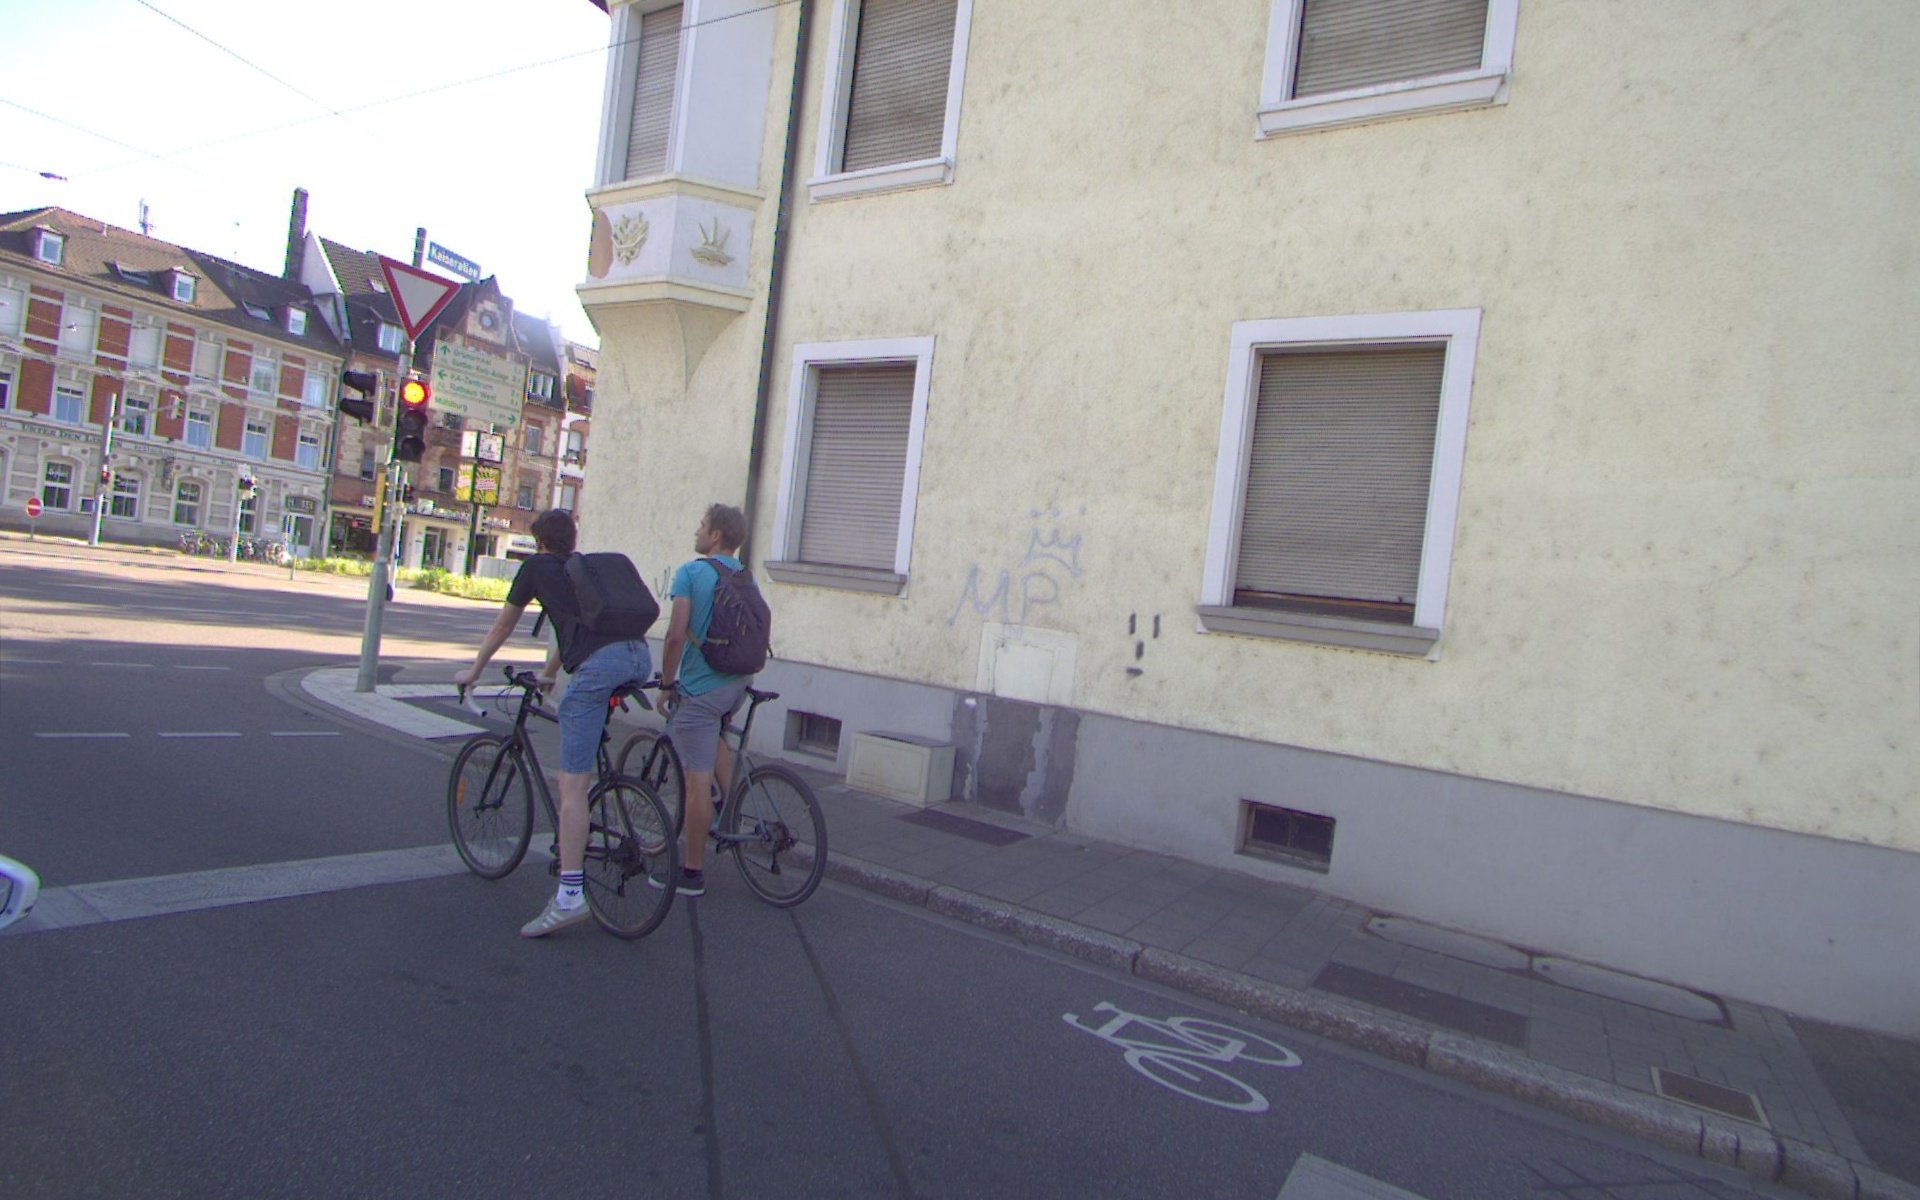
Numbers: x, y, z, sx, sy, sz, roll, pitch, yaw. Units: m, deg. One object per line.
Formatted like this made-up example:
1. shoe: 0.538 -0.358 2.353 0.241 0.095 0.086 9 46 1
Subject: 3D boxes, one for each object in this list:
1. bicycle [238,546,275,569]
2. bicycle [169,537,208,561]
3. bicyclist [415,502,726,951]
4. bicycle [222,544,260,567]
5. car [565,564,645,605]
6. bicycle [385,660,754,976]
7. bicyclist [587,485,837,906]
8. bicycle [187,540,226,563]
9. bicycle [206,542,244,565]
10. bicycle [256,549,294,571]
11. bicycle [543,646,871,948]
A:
1. bicycle: -33.489 -2.016 47.883 2.125 0.850 0.659 6 -2 33
2. bicycle: -34.868 -2.295 45.468 2.125 0.850 0.659 6 -2 33
3. bicyclist: -1.741 0.492 4.475 1.098 1.722 0.573 7 0 32
4. bicycle: -33.844 -2.084 47.352 2.125 0.850 0.659 6 -2 33
5. car: -23.011 -0.988 65.314 1.968 2.038 4.430 7 -1 34
6. bicycle: -1.789 0.876 4.496 1.721 0.982 0.519 7 0 32
7. bicyclist: -1.306 0.452 5.259 0.930 1.958 0.518 10 2 35
8. bicycle: -34.552 -2.227 46.135 2.125 0.850 0.659 6 -2 33
9. bicycle: -34.178 -2.153 46.756 2.125 0.850 0.659 6 -2 33
10. bicycle: -33.101 -1.937 48.587 2.125 0.850 0.659 6 -2 33
11. bicycle: -1.378 0.938 5.269 1.767 1.104 0.518 9 1 35
